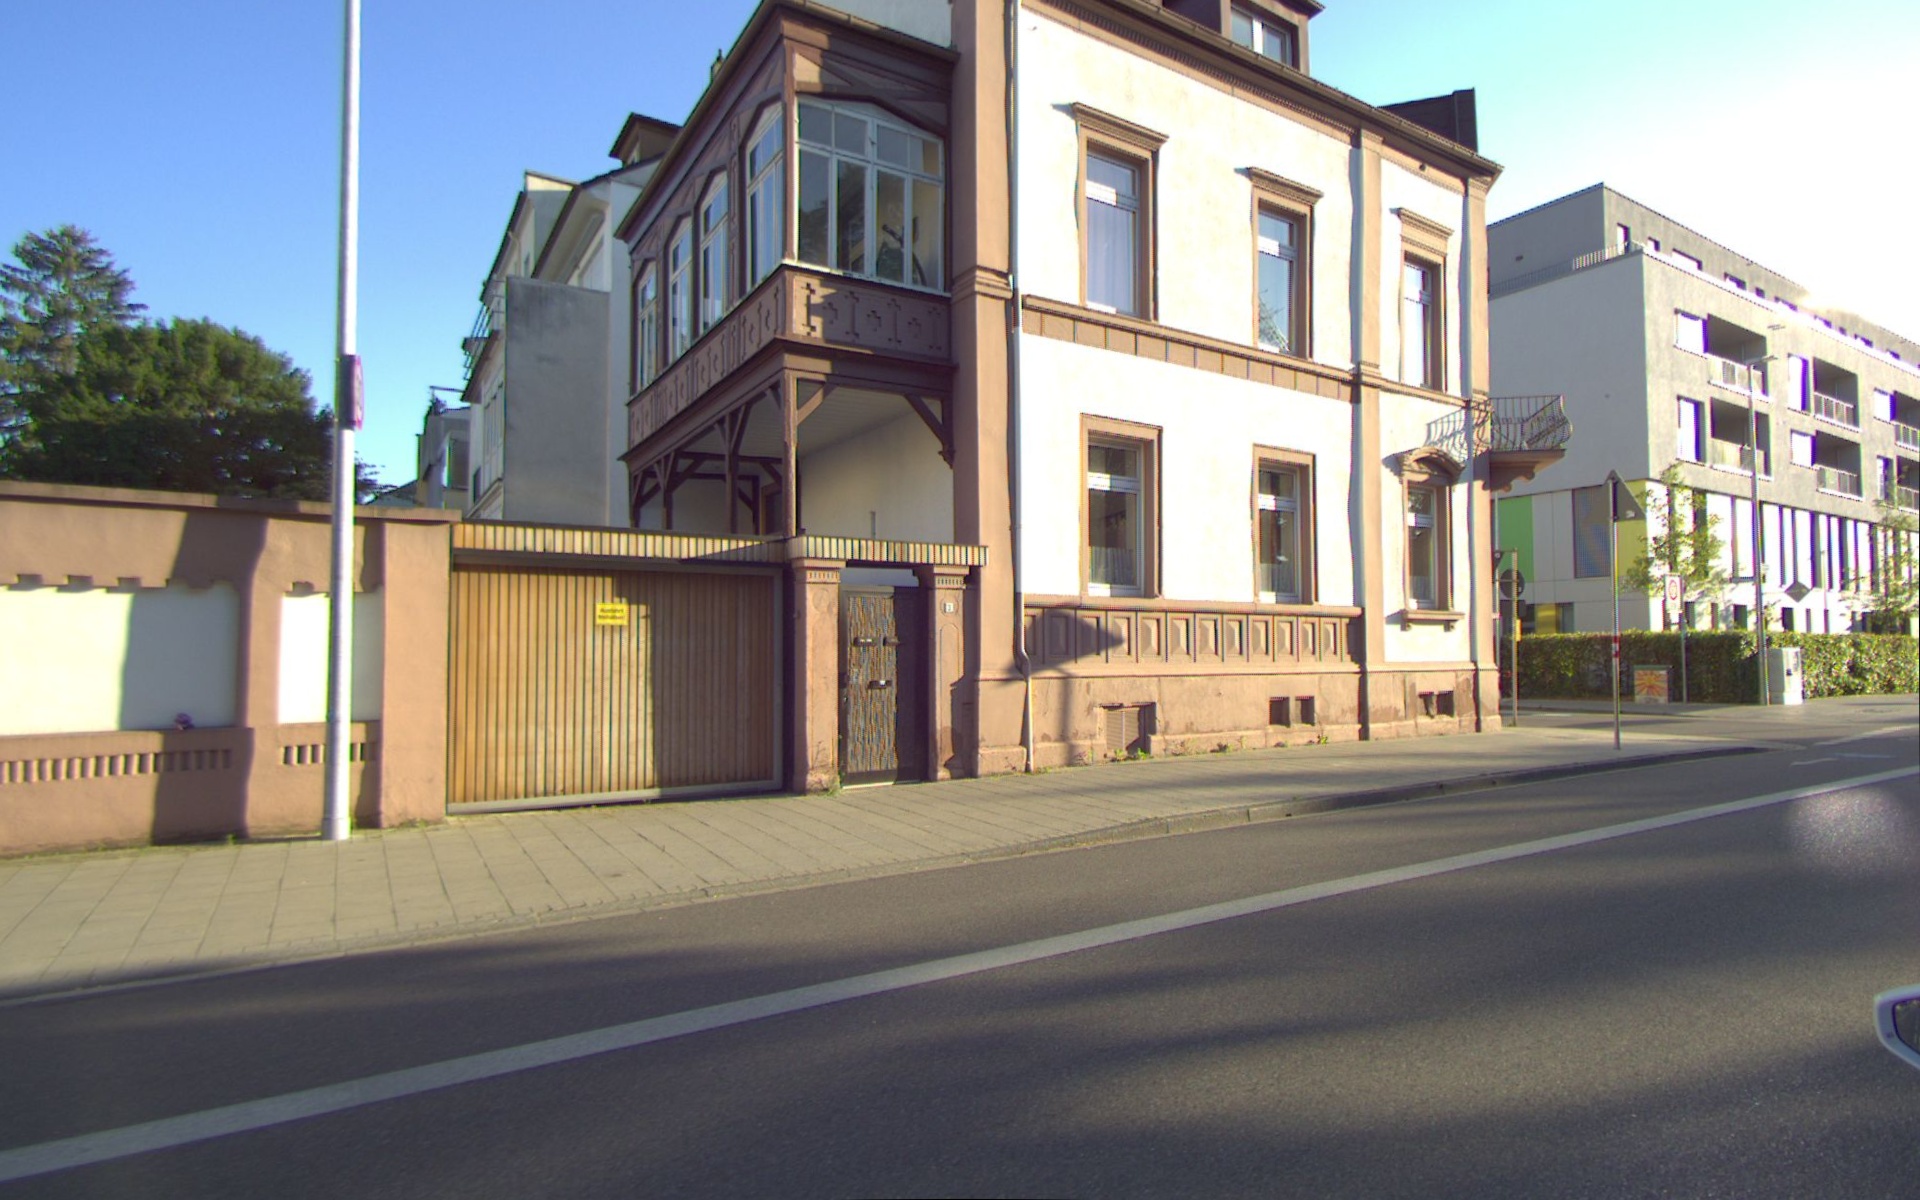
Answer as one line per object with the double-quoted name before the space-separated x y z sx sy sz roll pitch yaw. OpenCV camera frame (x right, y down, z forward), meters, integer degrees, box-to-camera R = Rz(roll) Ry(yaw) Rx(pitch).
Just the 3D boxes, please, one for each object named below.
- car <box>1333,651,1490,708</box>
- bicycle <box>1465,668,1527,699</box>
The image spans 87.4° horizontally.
"car" 13.142 2.316 29.440 1.798 1.456 3.888 7 -6 -30
"bicycle" 16.080 2.496 30.173 0.507 0.904 1.589 1 -3 -33
